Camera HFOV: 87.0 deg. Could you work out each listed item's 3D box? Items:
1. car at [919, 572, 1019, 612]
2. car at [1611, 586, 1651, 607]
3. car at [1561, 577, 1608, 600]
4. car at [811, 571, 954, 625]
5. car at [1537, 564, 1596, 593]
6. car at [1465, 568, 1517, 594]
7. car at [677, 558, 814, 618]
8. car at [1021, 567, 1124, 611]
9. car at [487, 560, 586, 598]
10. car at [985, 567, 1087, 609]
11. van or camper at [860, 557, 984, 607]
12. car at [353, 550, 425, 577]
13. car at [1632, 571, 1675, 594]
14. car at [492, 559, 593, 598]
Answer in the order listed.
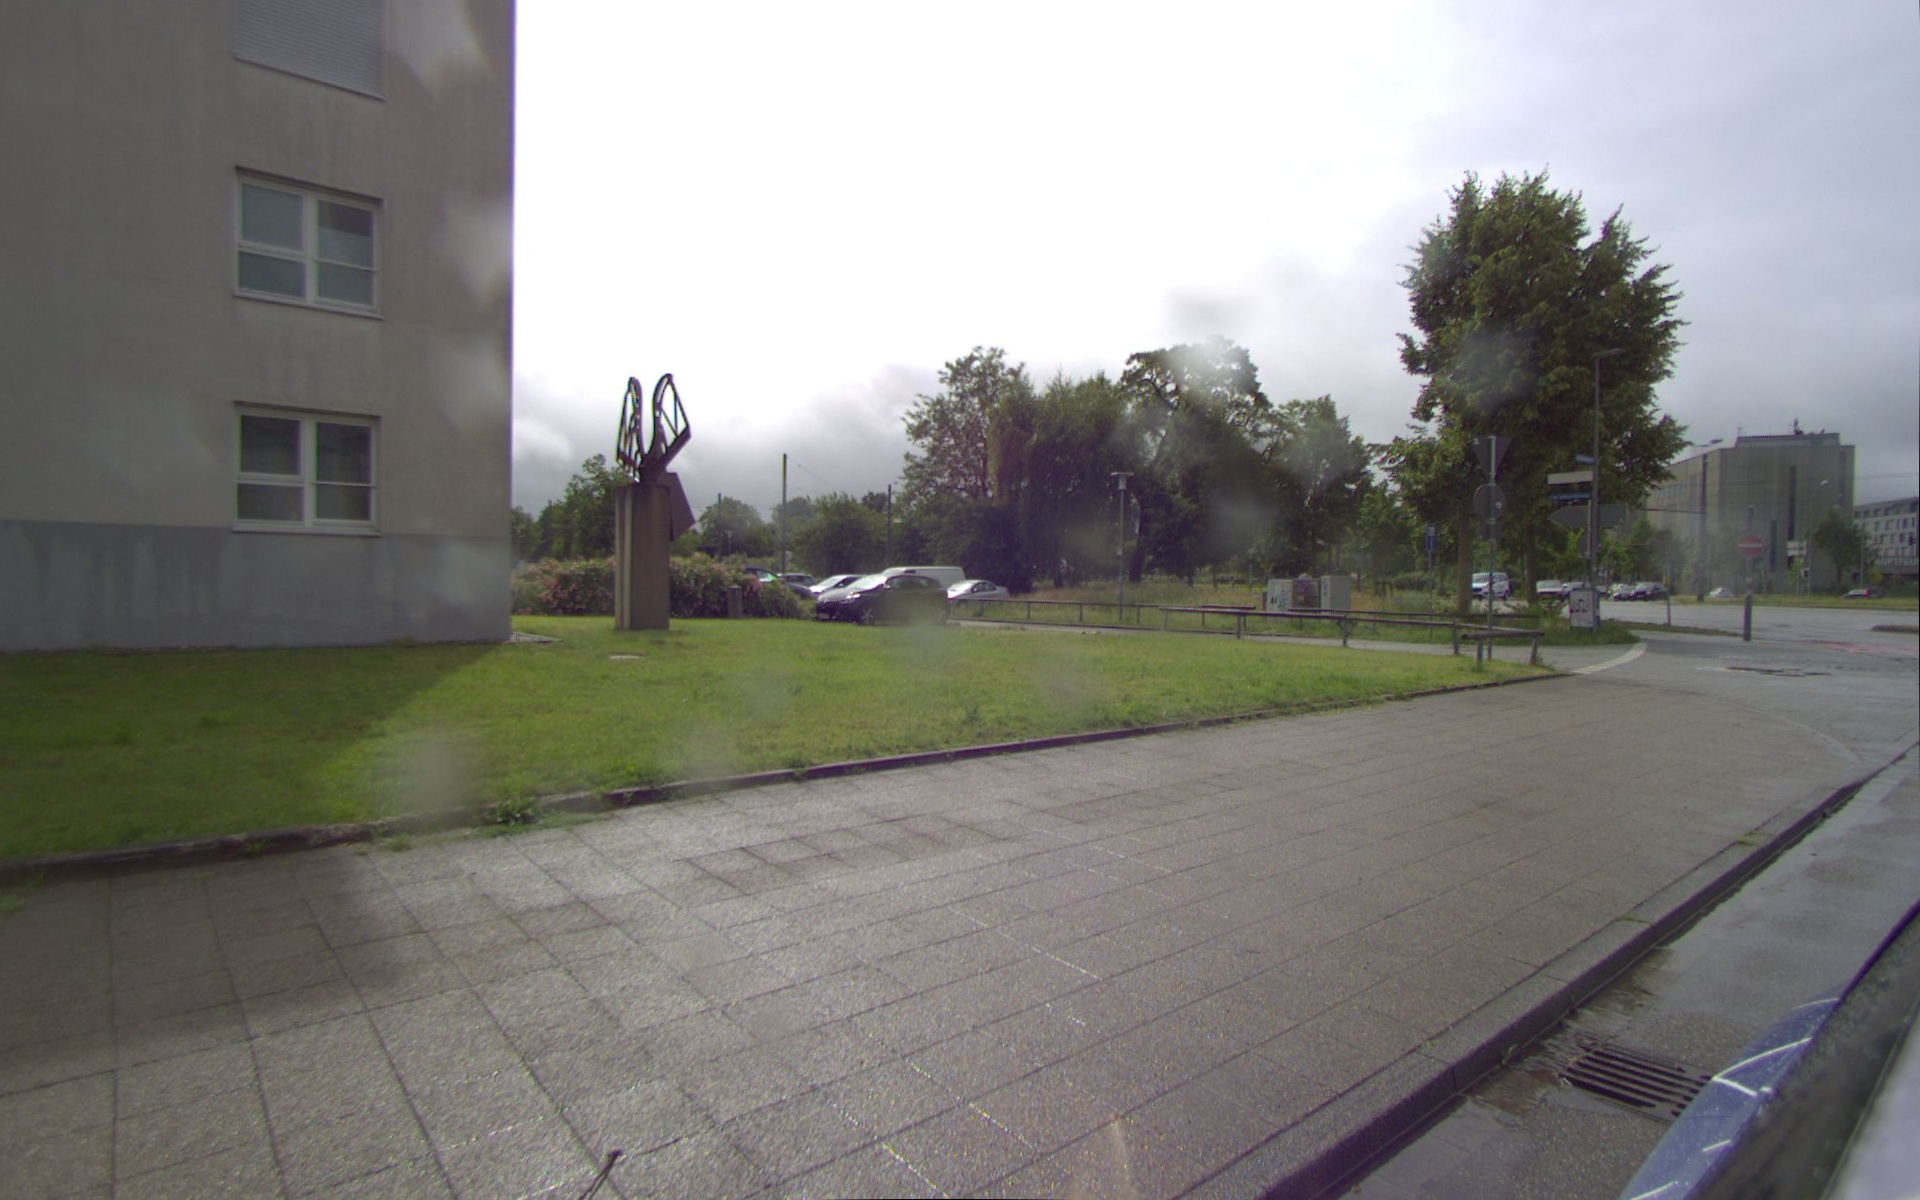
[{"bbox_3d":[0.422,-0.367,42.559,3.931,1.568,1.933,-1,2,-42],"label":"car"},{"bbox_3d":[58.526,-0.304,88.279,3.930,1.771,1.867,0,2,-41],"label":"car"},{"bbox_3d":[45.229,-0.876,73.293,3.930,1.616,1.768,-1,1,-41],"label":"car"},{"bbox_3d":[-2.041,-0.077,27.430,3.809,1.342,1.389,-1,2,-42],"label":"car"},{"bbox_3d":[38.119,-1.335,63.557,4.126,1.709,1.669,0,1,-35],"label":"car"},{"bbox_3d":[38.177,-1.361,72.696,4.155,1.734,1.890,-1,2,-40],"label":"car"},{"bbox_3d":[-7.134,-0.432,33.854,4.061,1.872,1.933,0,2,-42],"label":"car"},{"bbox_3d":[4.350,-0.442,38.800,3.706,1.568,1.933,-1,2,-42],"label":"car"},{"bbox_3d":[-21.914,-1.088,52.449,4.316,1.872,1.933,-1,2,-42],"label":"car"},{"bbox_3d":[3.077,-0.494,40.624,3.931,1.568,1.933,-1,2,-42],"label":"car"},{"bbox_3d":[-1.637,-0.793,45.803,5.578,2.130,1.998,0,1,-40],"label":"van or camper"},{"bbox_3d":[-42.025,-2.661,74.538,4.316,1.872,1.933,-1,2,-42],"label":"car"},{"bbox_3d":[55.210,-1.414,80.584,3.930,1.771,1.867,0,2,-41],"label":"car"},{"bbox_3d":[-20.864,-1.074,50.660,4.316,1.872,1.933,-1,2,-42],"label":"car"}]
